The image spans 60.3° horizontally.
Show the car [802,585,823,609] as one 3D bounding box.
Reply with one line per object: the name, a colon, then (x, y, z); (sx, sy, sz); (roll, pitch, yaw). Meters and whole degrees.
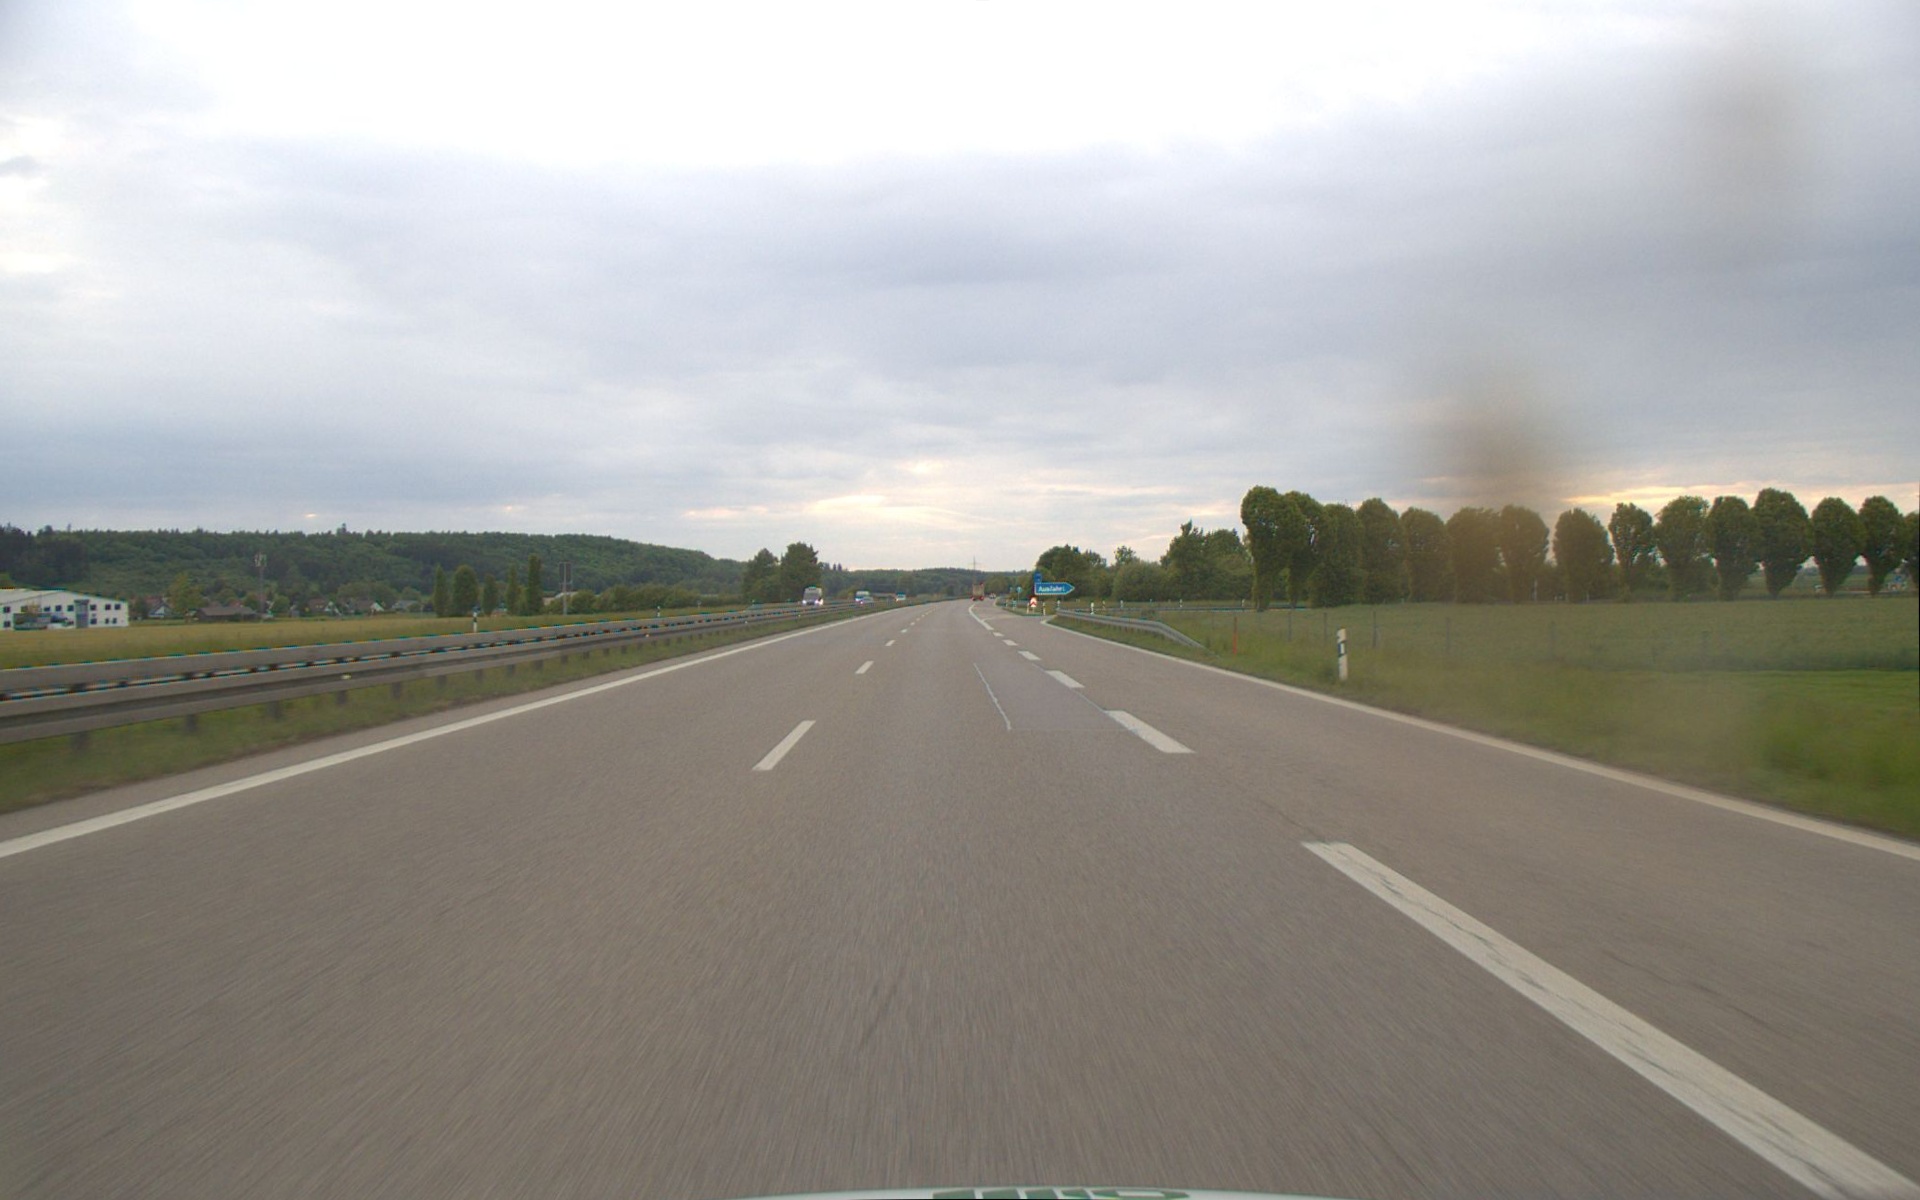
car: (-18.084, -0.390, 202.928); (2.062, 2.849, 6.427); (0, 0, 0)
